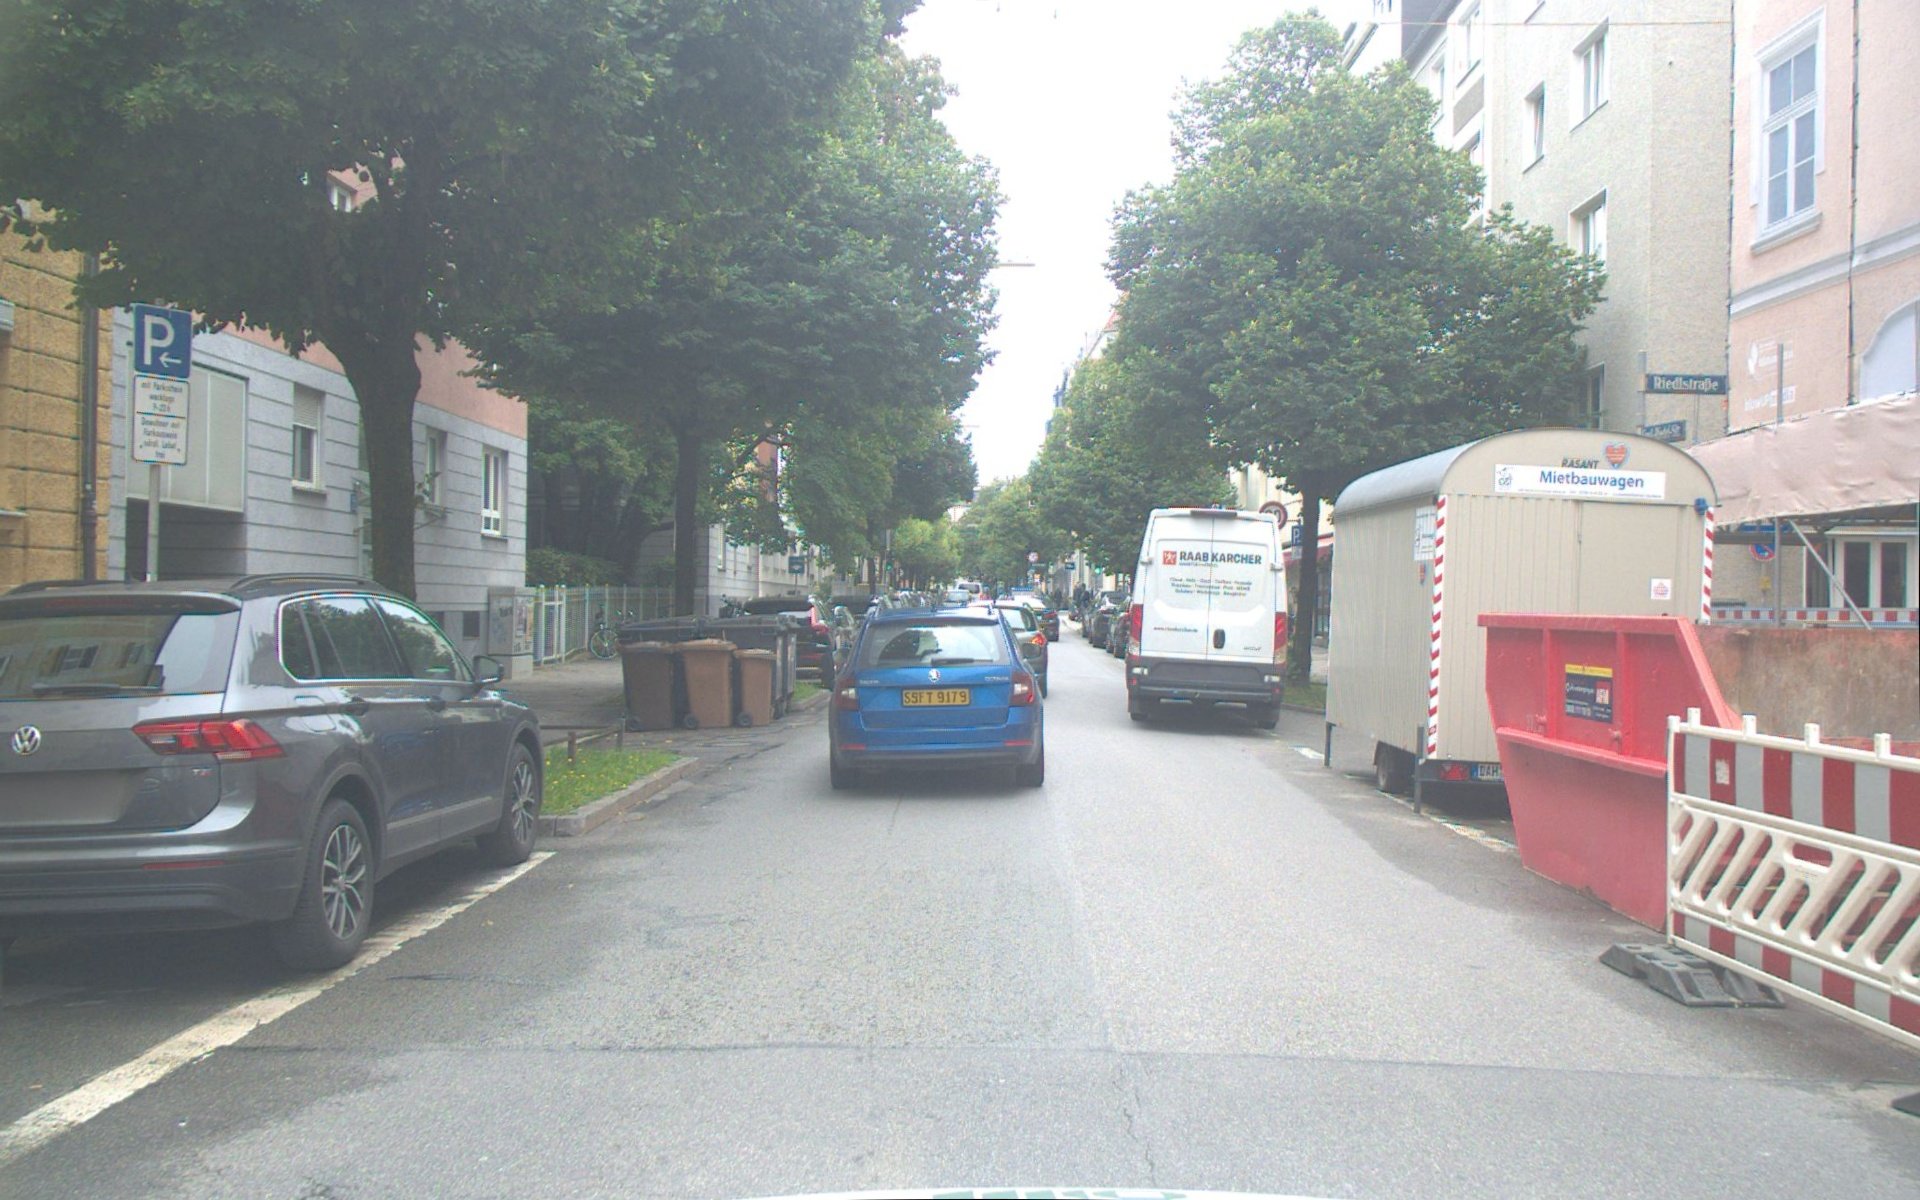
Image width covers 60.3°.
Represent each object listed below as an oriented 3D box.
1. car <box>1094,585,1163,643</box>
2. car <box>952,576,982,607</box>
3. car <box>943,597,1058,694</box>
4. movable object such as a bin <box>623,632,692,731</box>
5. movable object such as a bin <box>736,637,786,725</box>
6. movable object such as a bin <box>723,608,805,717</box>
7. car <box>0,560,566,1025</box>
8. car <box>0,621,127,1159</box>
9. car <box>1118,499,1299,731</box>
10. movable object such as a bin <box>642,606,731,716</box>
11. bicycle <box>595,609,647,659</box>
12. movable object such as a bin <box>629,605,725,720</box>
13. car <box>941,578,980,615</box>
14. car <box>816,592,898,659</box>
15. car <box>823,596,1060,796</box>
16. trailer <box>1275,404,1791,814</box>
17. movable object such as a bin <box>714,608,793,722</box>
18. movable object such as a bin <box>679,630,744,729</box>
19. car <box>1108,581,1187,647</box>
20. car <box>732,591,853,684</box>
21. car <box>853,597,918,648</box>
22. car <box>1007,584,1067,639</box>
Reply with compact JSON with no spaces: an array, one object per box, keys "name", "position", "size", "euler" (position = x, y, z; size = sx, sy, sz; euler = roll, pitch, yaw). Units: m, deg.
[{"name":"car","position":[5.310,0.414,52.524],"size":[1.788,1.757,4.000],"euler":[0,0,1]},{"name":"car","position":[0.460,-0.564,105.785],"size":[1.829,1.902,4.347],"euler":[2,0,0]},{"name":"car","position":[0.694,0.690,26.538],"size":[1.705,1.446,3.665],"euler":[0,0,3]},{"name":"movable object such as a bin","position":[-3.721,0.989,20.379],"size":[0.706,1.158,0.658],"euler":[-2,0,-3]},{"name":"movable object such as a bin","position":[-2.460,0.993,20.488],"size":[0.535,1.038,0.636],"euler":[-2,0,-3]},{"name":"movable object such as a bin","position":[-2.648,0.833,22.442],"size":[1.000,1.400,1.103],"euler":[-2,0,-3]},{"name":"car","position":[-3.350,0.692,8.036],"size":[1.748,1.657,4.186],"euler":[-1,0,1]},{"name":"car","position":[-3.460,0.778,3.228],"size":[1.664,1.434,3.709],"euler":[0,0,3]},{"name":"car","position":[3.281,0.203,22.505],"size":[2.068,2.710,5.504],"euler":[2,-1,7]},{"name":"movable object such as a bin","position":[-3.684,0.804,22.367],"size":[1.036,1.400,1.095],"euler":[-2,0,-3]},{"name":"bicycle","position":[-7.681,0.757,37.608],"size":[0.621,1.086,2.388],"euler":[0,0,2]},{"name":"movable object such as a bin","position":[-3.628,0.781,21.267],"size":[1.060,1.400,1.083],"euler":[-2,0,-3]},{"name":"car","position":[0.047,-0.191,81.618],"size":[1.829,1.726,4.348],"euler":[2,0,1]},{"name":"car","position":[-2.433,0.576,39.897],"size":[1.775,1.504,3.999],"euler":[1,0,-1]},{"name":"car","position":[-0.118,0.719,14.431],"size":[1.752,1.486,4.314],"euler":[0,0,0]},{"name":"trailer","position":[4.797,0.089,15.401],"size":[2.451,2.889,6.901],"euler":[2,0,1]},{"name":"movable object such as a bin","position":[-2.651,0.819,21.344],"size":[0.900,1.400,1.079],"euler":[-2,0,-3]},{"name":"movable object such as a bin","position":[-3.066,0.969,20.431],"size":[0.697,1.168,0.636],"euler":[-2,0,-3]},{"name":"car","position":[5.195,0.365,46.307],"size":[1.788,1.757,4.000],"euler":[0,0,1]},{"name":"car","position":[-2.882,0.610,29.167],"size":[1.775,1.504,3.999],"euler":[1,0,-1]},{"name":"car","position":[-2.311,0.669,51.939],"size":[1.775,1.504,4.000],"euler":[1,0,1]},{"name":"car","position":[2.586,0.357,56.228],"size":[1.829,1.726,4.347],"euler":[2,0,0]}]
